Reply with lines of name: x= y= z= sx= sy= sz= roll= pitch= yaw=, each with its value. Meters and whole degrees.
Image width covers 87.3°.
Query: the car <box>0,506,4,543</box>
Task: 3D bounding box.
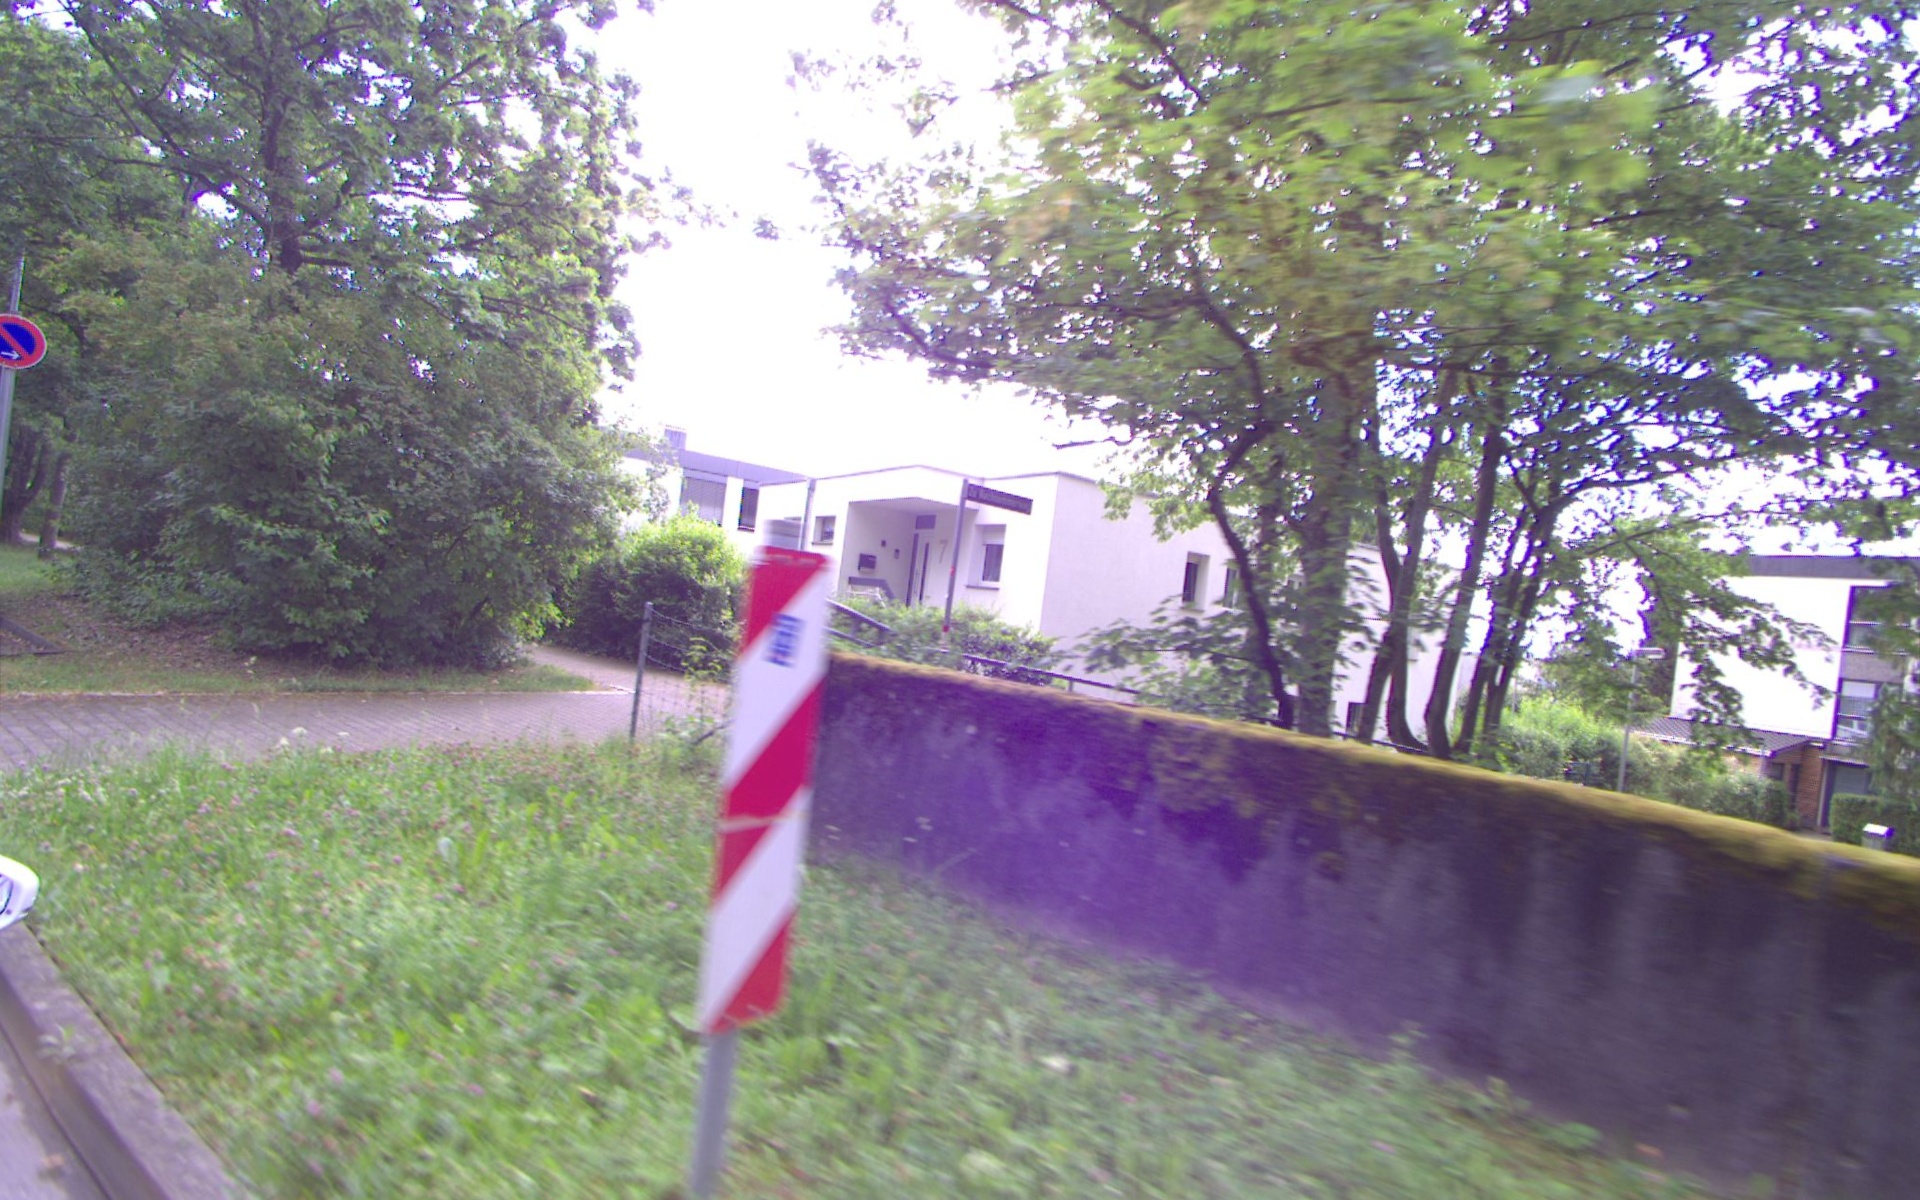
car: x=-13.431 y=-0.635 z=12.459 sx=4.001 sy=1.428 sz=1.791 roll=6 pitch=-1 yaw=40
